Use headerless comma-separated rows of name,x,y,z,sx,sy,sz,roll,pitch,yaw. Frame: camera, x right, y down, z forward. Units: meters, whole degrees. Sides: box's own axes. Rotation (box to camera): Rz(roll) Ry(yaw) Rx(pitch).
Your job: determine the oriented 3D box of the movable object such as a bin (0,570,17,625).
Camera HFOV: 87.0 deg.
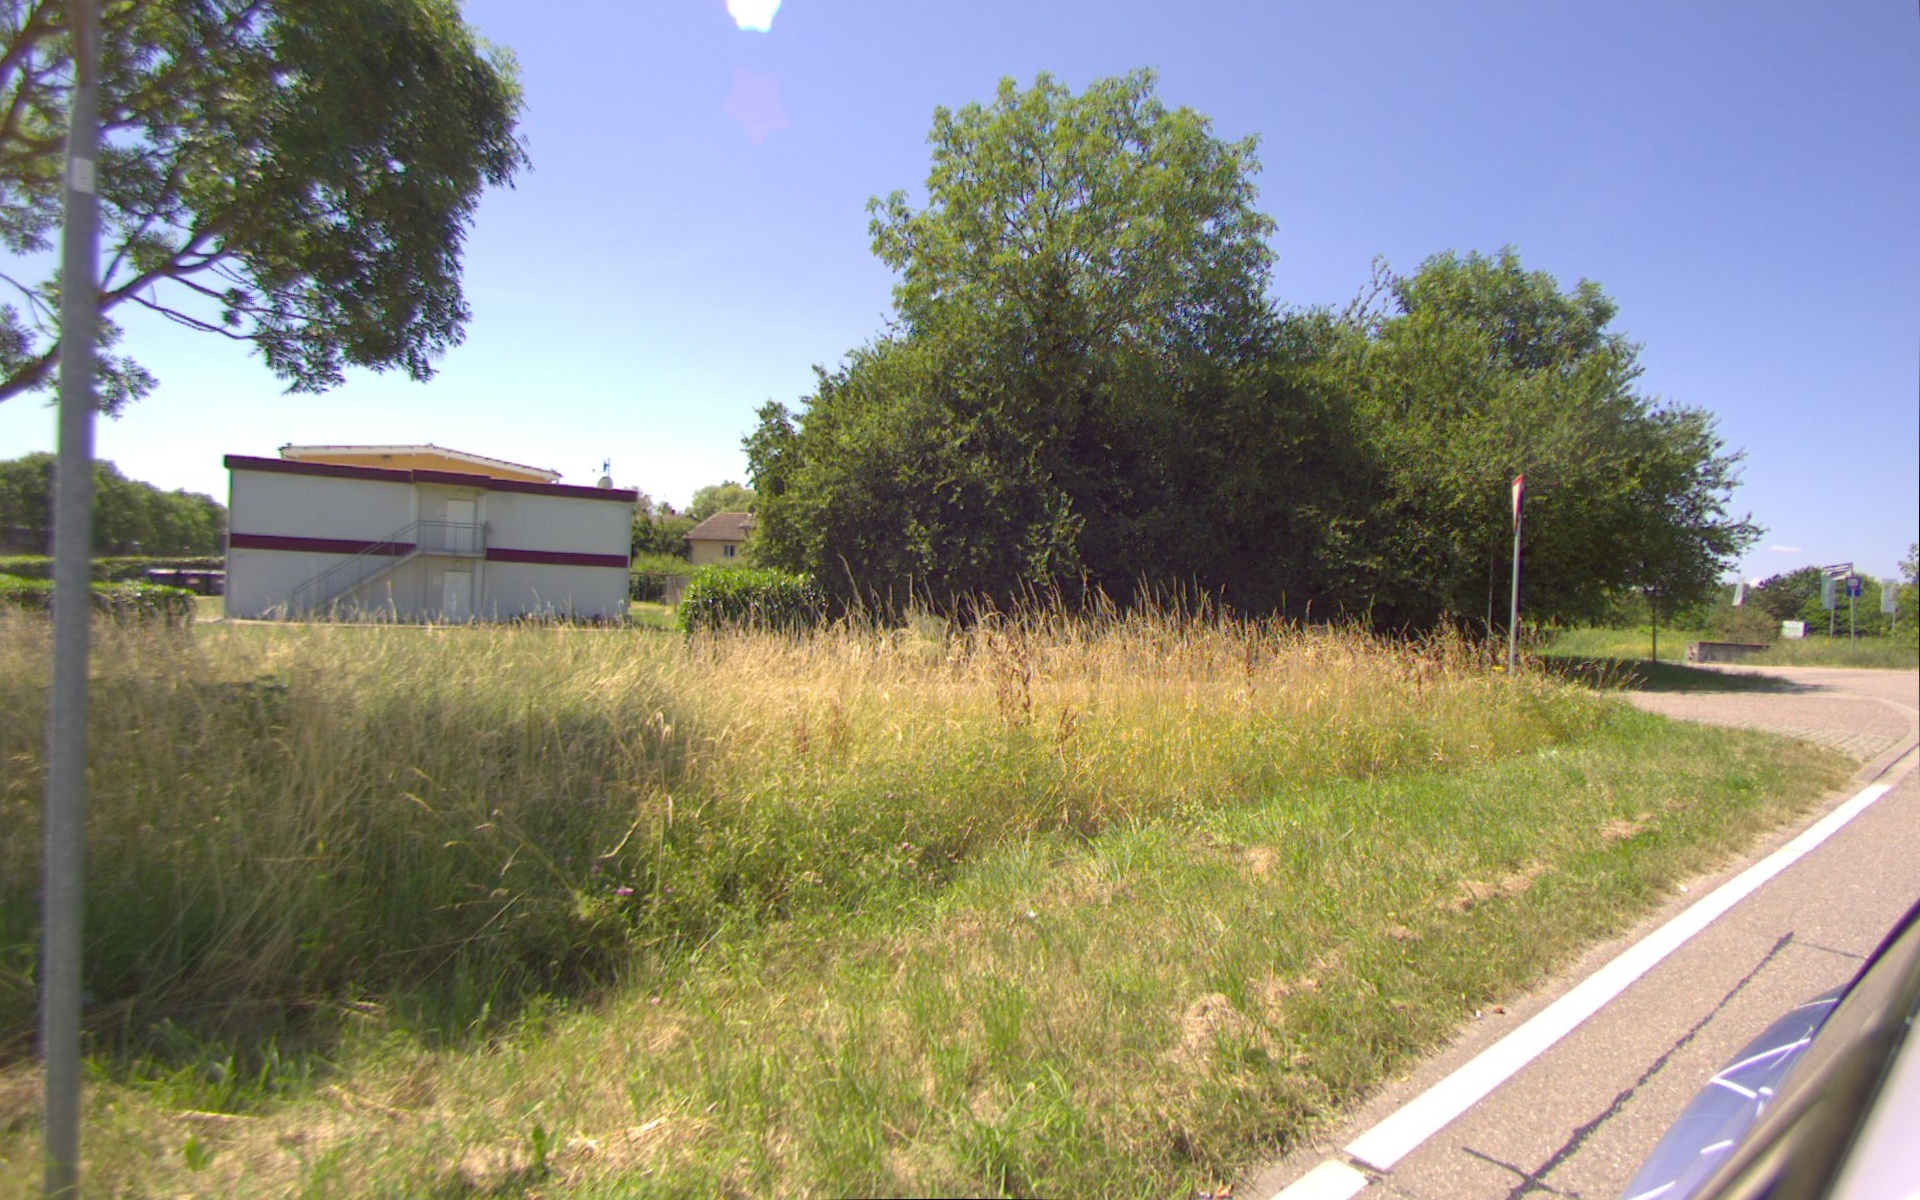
movable object such as a bin,-30.400,-0.099,31.322,1.531,1.708,1.231,1,0,-31
